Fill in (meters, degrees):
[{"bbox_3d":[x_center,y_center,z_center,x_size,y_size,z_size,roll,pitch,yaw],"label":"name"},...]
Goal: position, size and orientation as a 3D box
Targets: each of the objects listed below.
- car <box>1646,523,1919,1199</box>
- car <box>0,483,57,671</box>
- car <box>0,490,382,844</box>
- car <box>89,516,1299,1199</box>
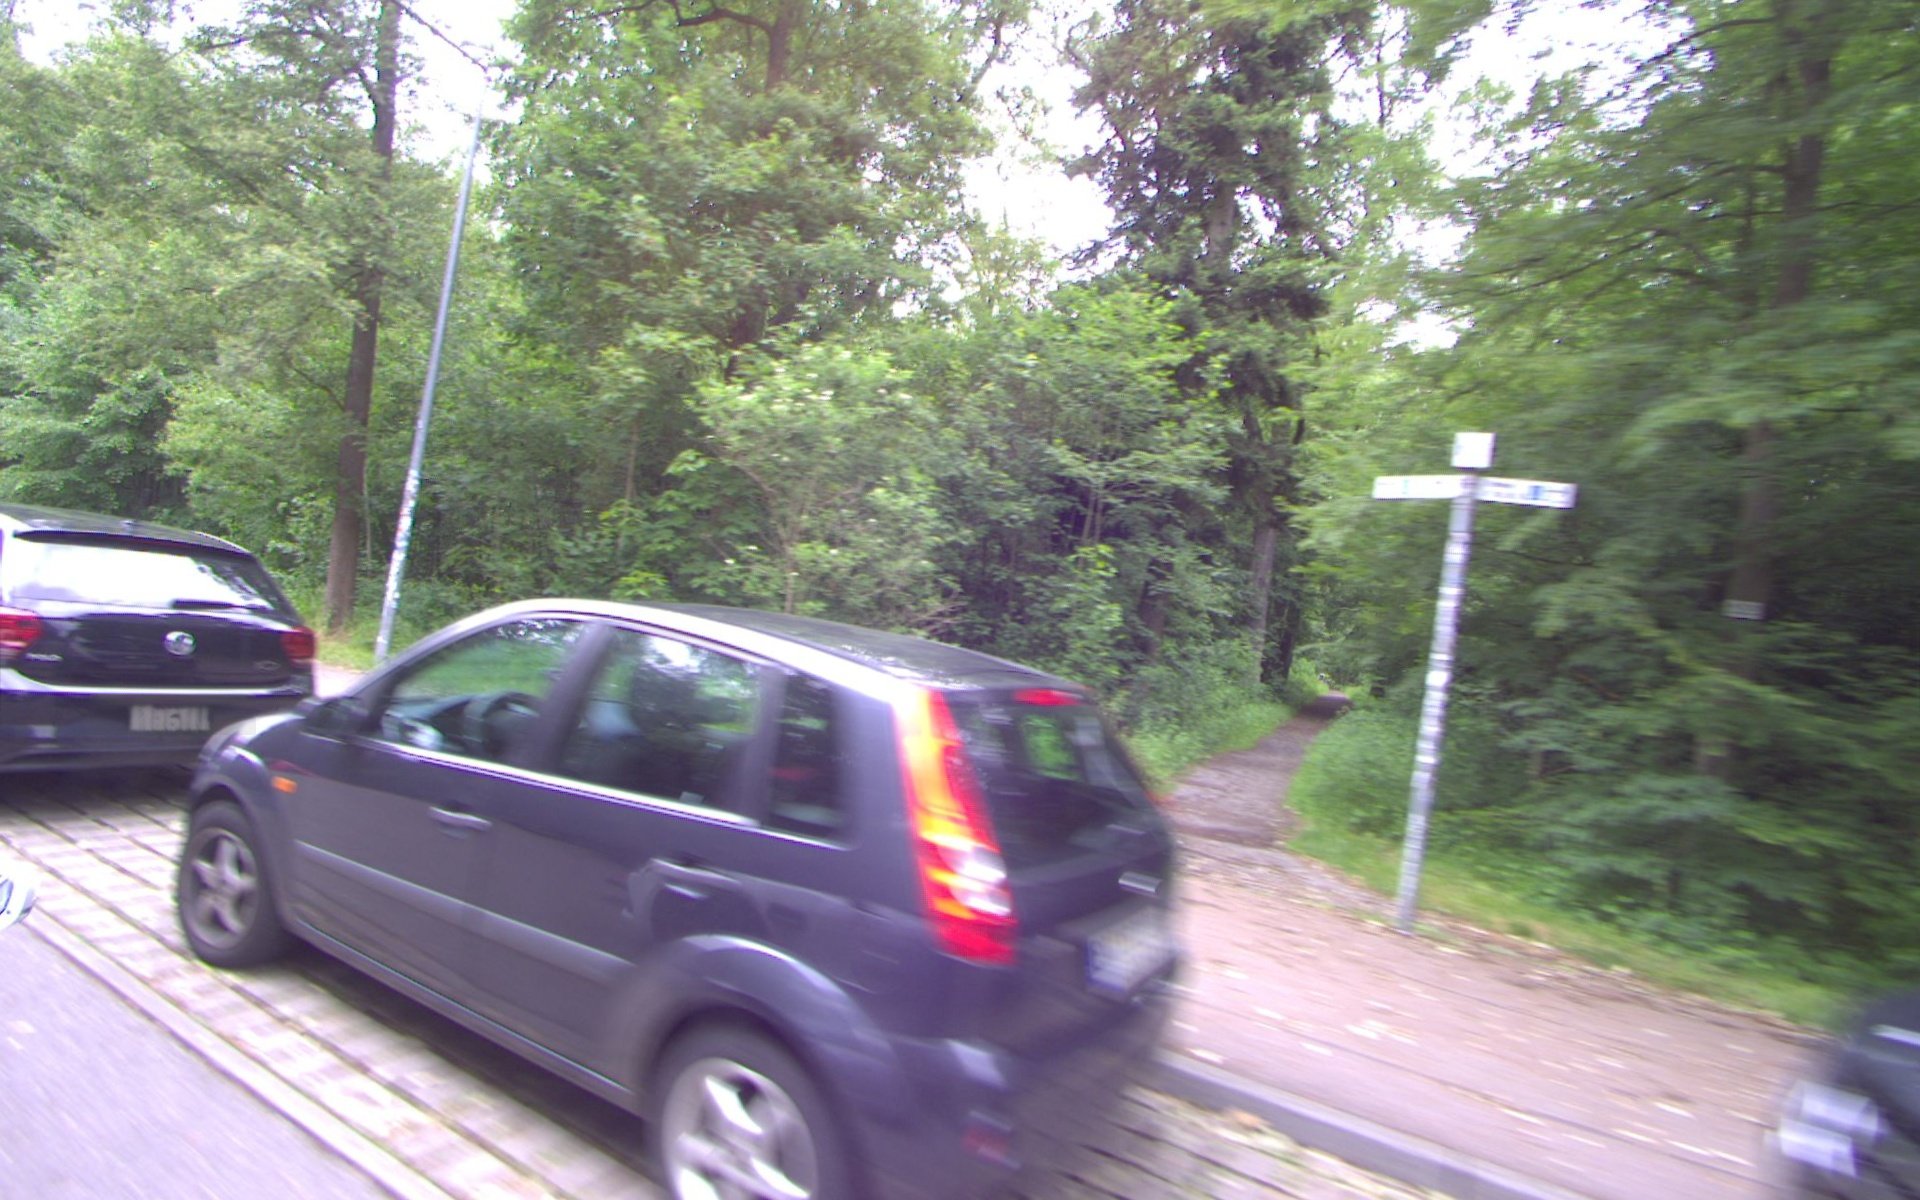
[{"bbox_3d":[3.468,1.099,0.545,4.865,1.767,1.894,7,-1,31],"label":"car"},{"bbox_3d":[-10.303,-0.507,8.926,4.543,1.555,1.983,7,-2,30],"label":"car"},{"bbox_3d":[-5.473,0.145,5.861,4.079,1.495,1.641,7,-1,29],"label":"car"},{"bbox_3d":[-1.132,0.725,3.529,4.021,1.521,1.602,7,-1,31],"label":"car"}]
